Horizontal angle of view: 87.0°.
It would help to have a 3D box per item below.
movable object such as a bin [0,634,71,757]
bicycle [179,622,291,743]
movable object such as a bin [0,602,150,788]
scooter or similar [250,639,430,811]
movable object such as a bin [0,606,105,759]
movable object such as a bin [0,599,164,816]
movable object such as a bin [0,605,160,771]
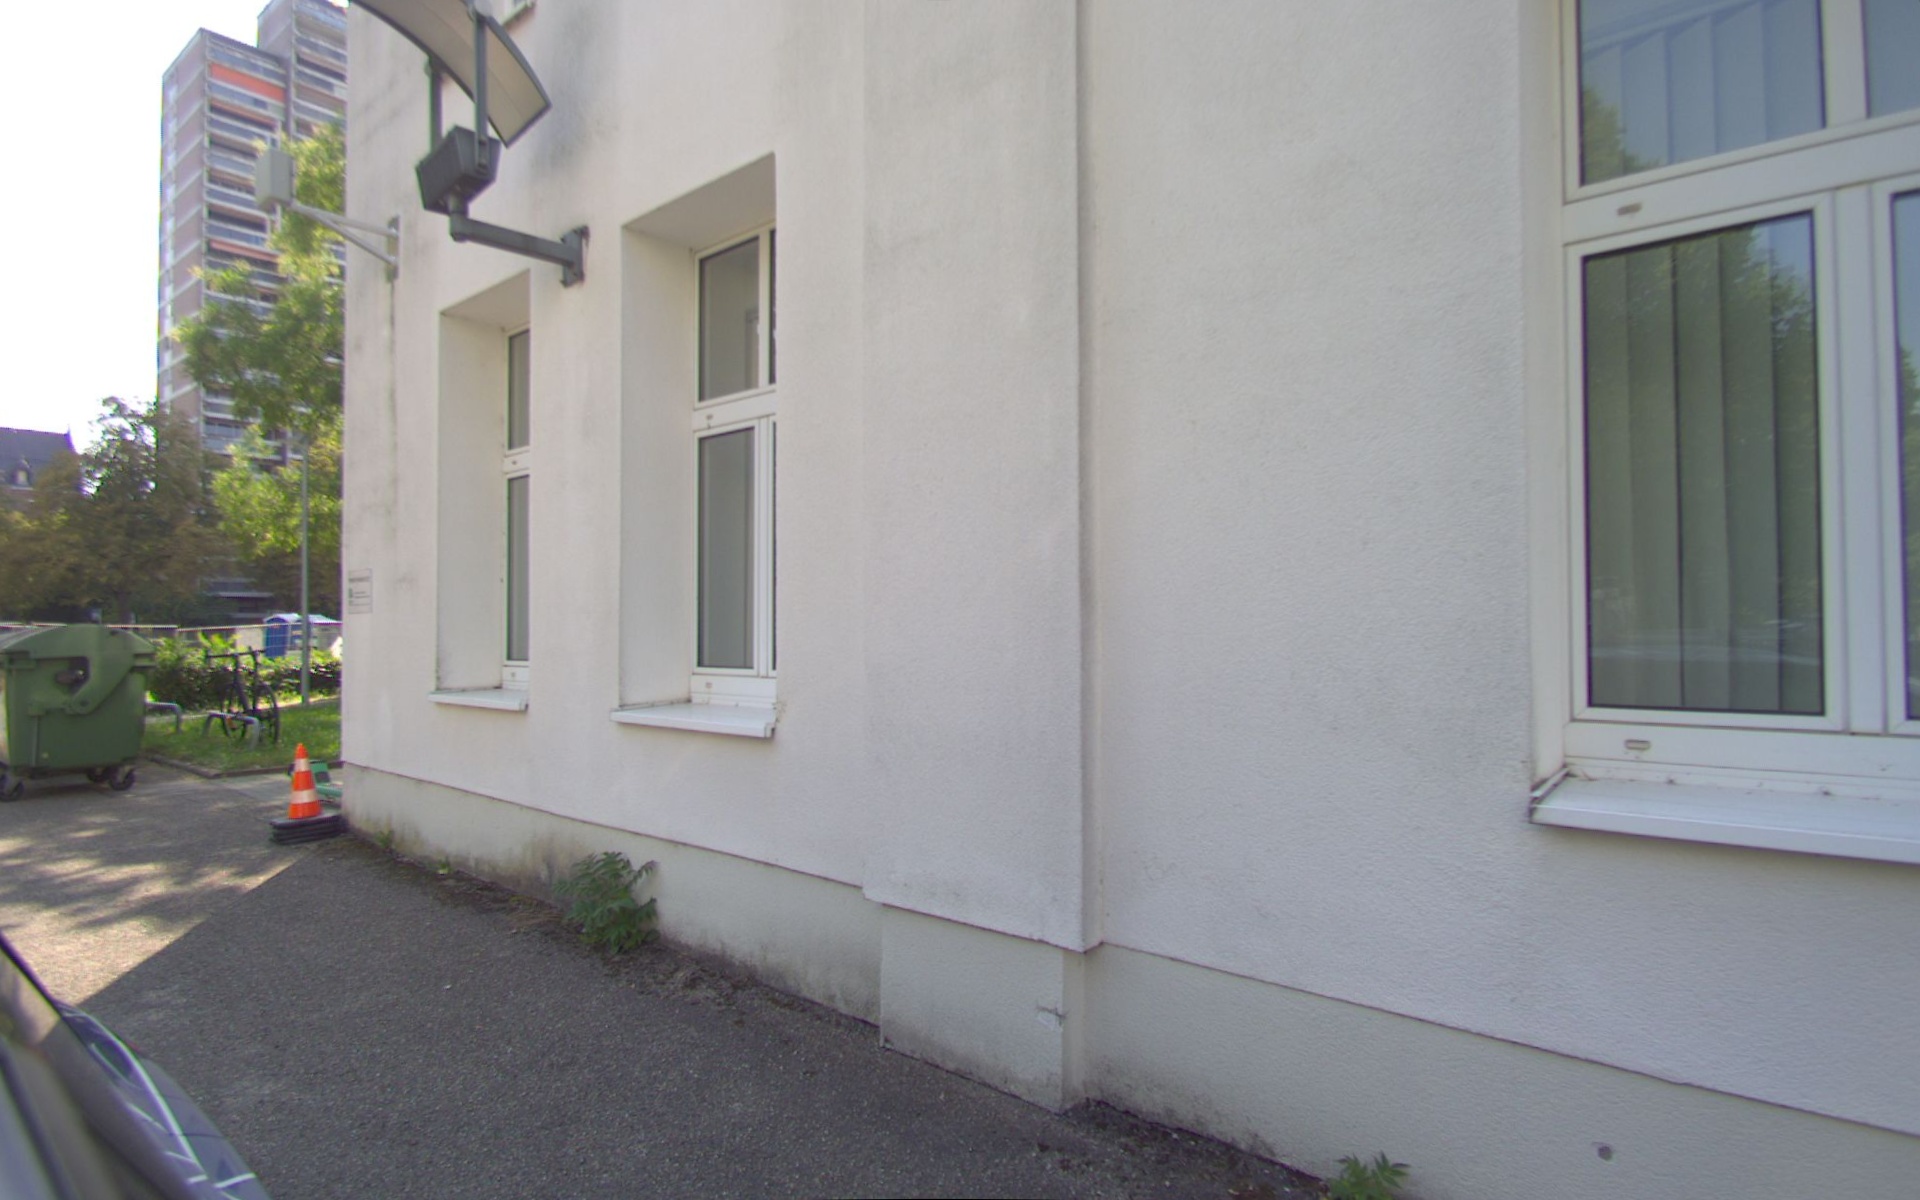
[{"bbox_3d":[-12.247,1.192,12.920,1.103,1.509,1.026,-1,-2,29],"label":"movable object such as a bin"},{"bbox_3d":[-7.959,0.855,11.071,2.006,1.222,0.471,-1,-2,39],"label":"bicycle"},{"bbox_3d":[-9.040,0.904,10.214,1.395,1.718,1.167,-1,-2,44],"label":"movable object such as a bin"},{"bbox_3d":[-4.932,0.953,8.041,1.485,1.272,0.383,-1,-2,21],"label":"scooter or similar"},{"bbox_3d":[-11.154,0.949,12.057,1.375,1.718,1.170,-1,-2,37],"label":"movable object such as a bin"},{"bbox_3d":[-7.879,0.869,8.799,1.375,1.718,1.170,-1,-2,37],"label":"movable object such as a bin"},{"bbox_3d":[-9.927,0.932,11.346,1.375,1.718,1.170,-1,-2,37],"label":"movable object such as a bin"}]
